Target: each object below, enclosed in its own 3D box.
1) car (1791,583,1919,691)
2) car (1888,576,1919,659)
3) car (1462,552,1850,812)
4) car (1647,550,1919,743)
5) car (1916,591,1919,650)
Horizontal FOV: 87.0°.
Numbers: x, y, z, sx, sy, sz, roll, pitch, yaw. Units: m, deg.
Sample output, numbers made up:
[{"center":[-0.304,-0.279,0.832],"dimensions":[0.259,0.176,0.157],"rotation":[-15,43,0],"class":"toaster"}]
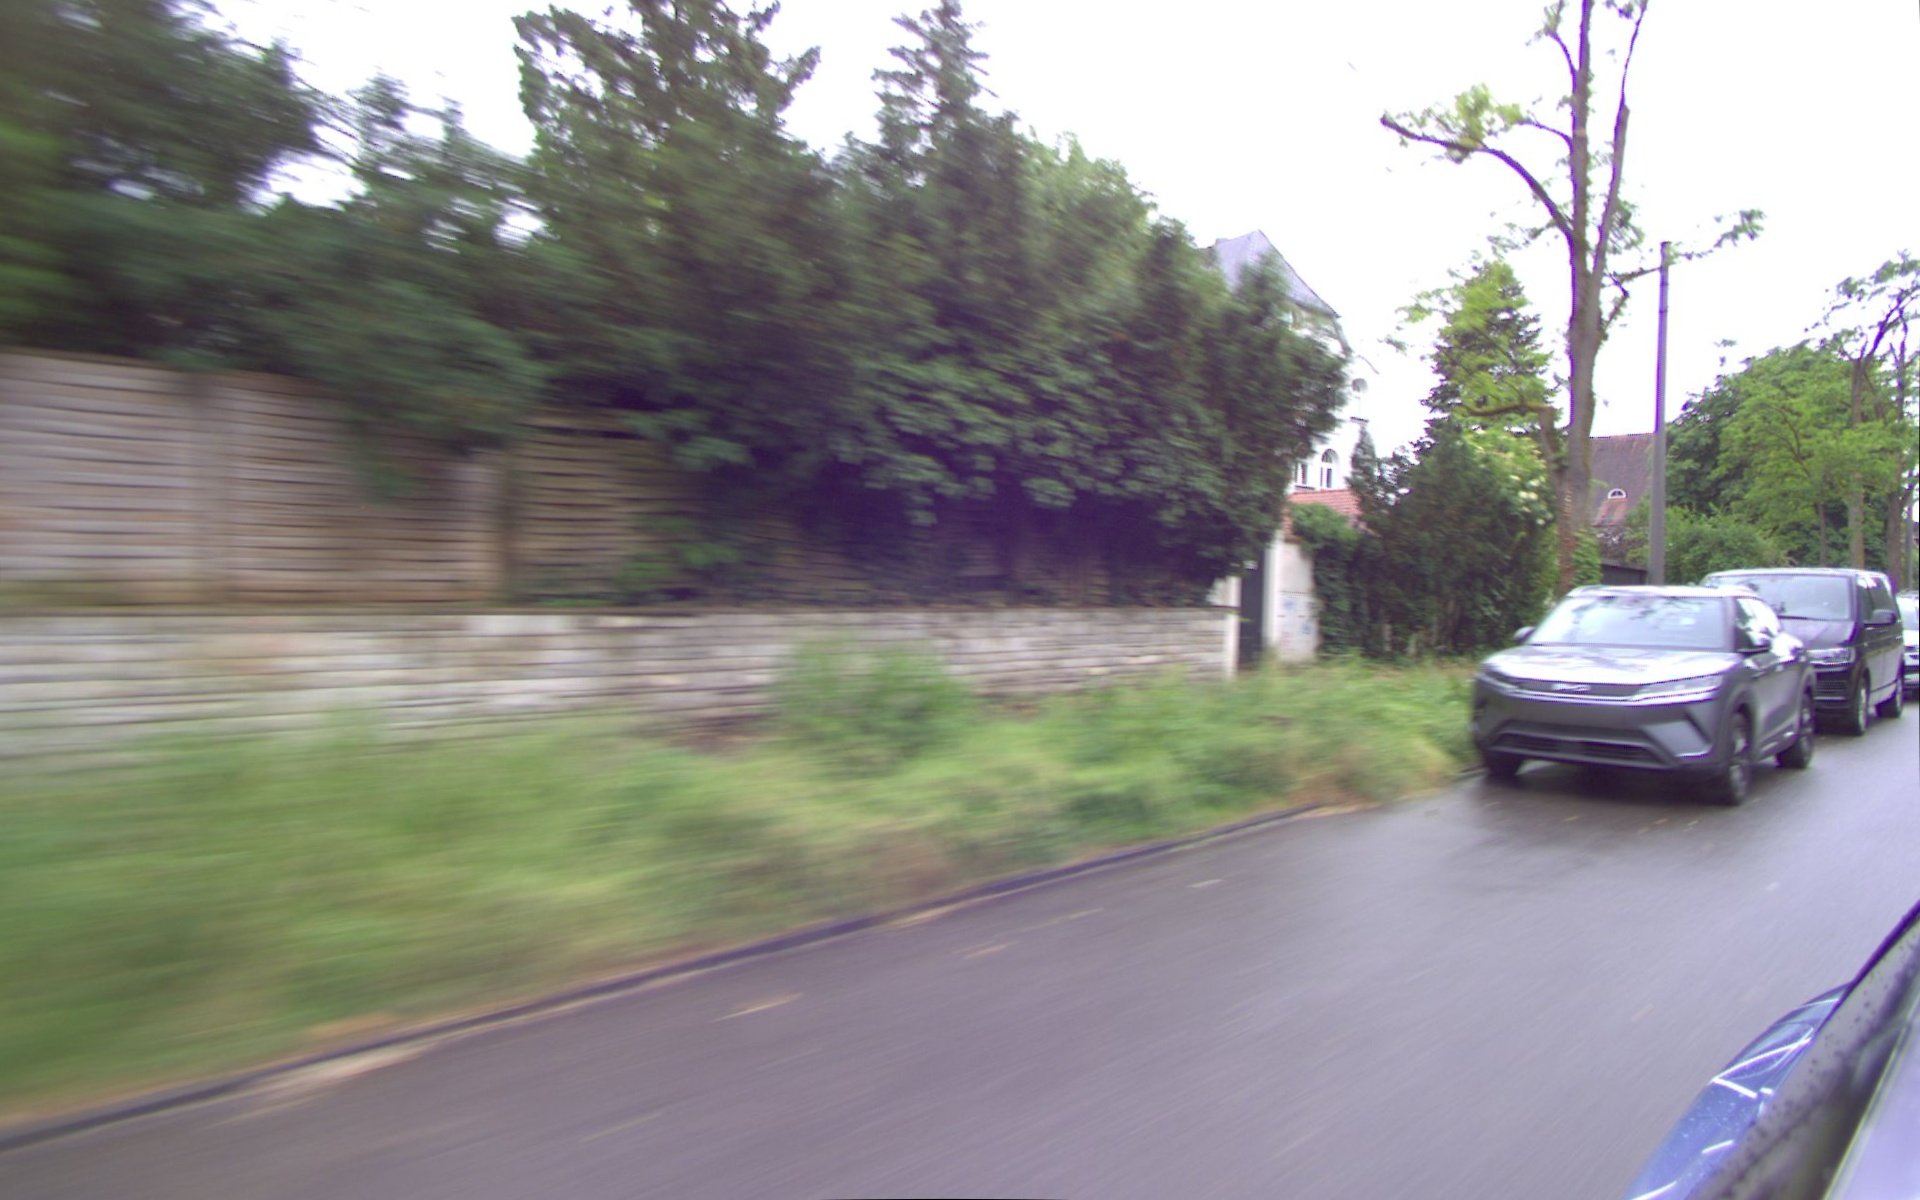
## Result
[{"center":[15.604,0.577,17.081],"dimensions":[4.211,1.633,1.807],"rotation":[1,-1,-42],"class":"car"},{"center":[23.368,0.420,23.861],"dimensions":[4.155,1.871,1.733],"rotation":[1,-1,-41],"class":"car"},{"center":[6.221,0.571,8.853],"dimensions":[4.250,1.745,1.777],"rotation":[1,-1,-41],"class":"car"},{"center":[10.780,0.513,13.055],"dimensions":[4.801,2.039,1.997],"rotation":[1,-1,-41],"class":"car"},{"center":[27.678,0.568,27.785],"dimensions":[4.004,1.575,1.681],"rotation":[1,-1,-41],"class":"car"}]
